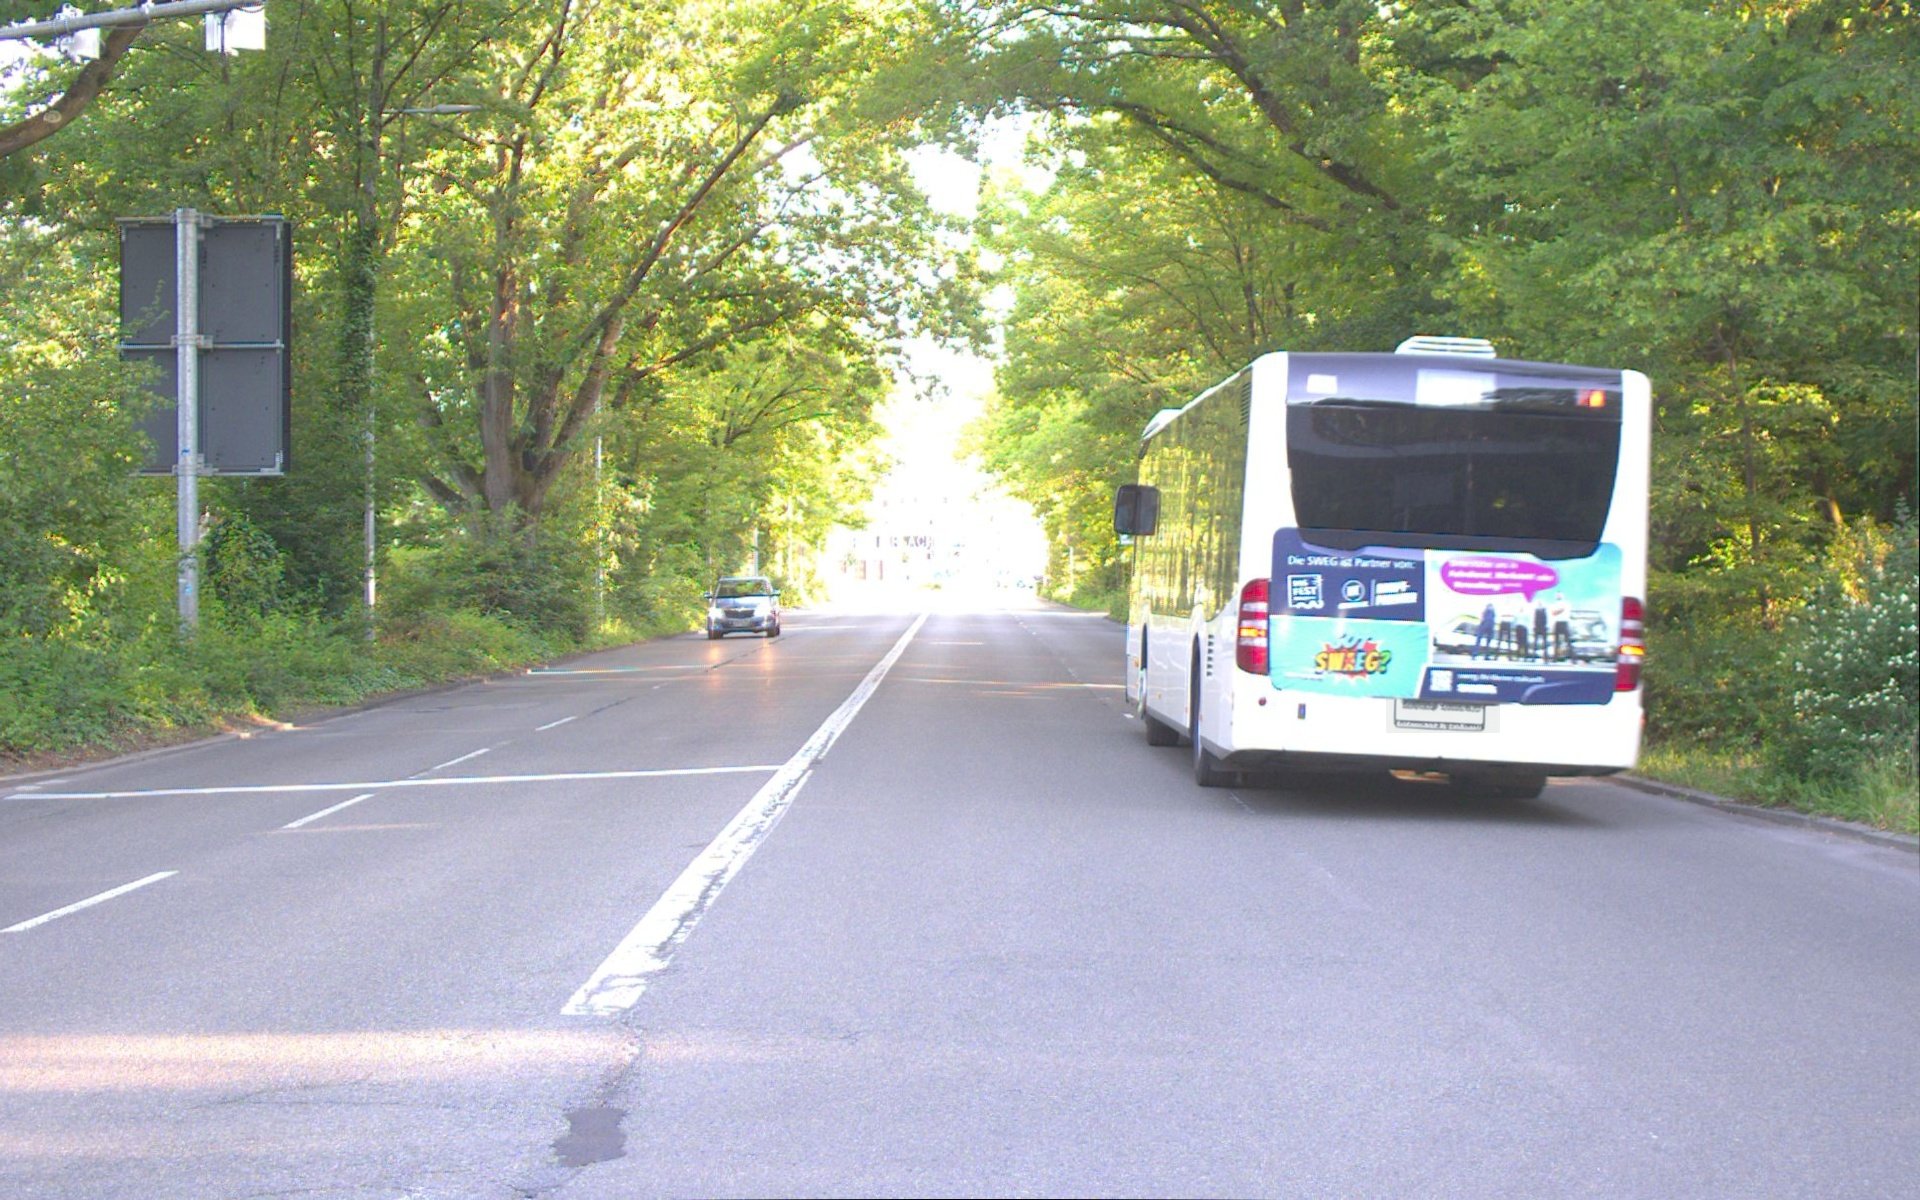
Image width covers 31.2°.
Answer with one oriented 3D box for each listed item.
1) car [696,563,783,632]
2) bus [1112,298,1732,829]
[{"bbox_3d":[-5.357,-0.075,83.971,1.806,1.574,4.319,-2,1,0],"label":"car"},{"bbox_3d":[3.055,-0.280,26.869,3.012,3.077,12.270,2,1,0],"label":"bus"}]
